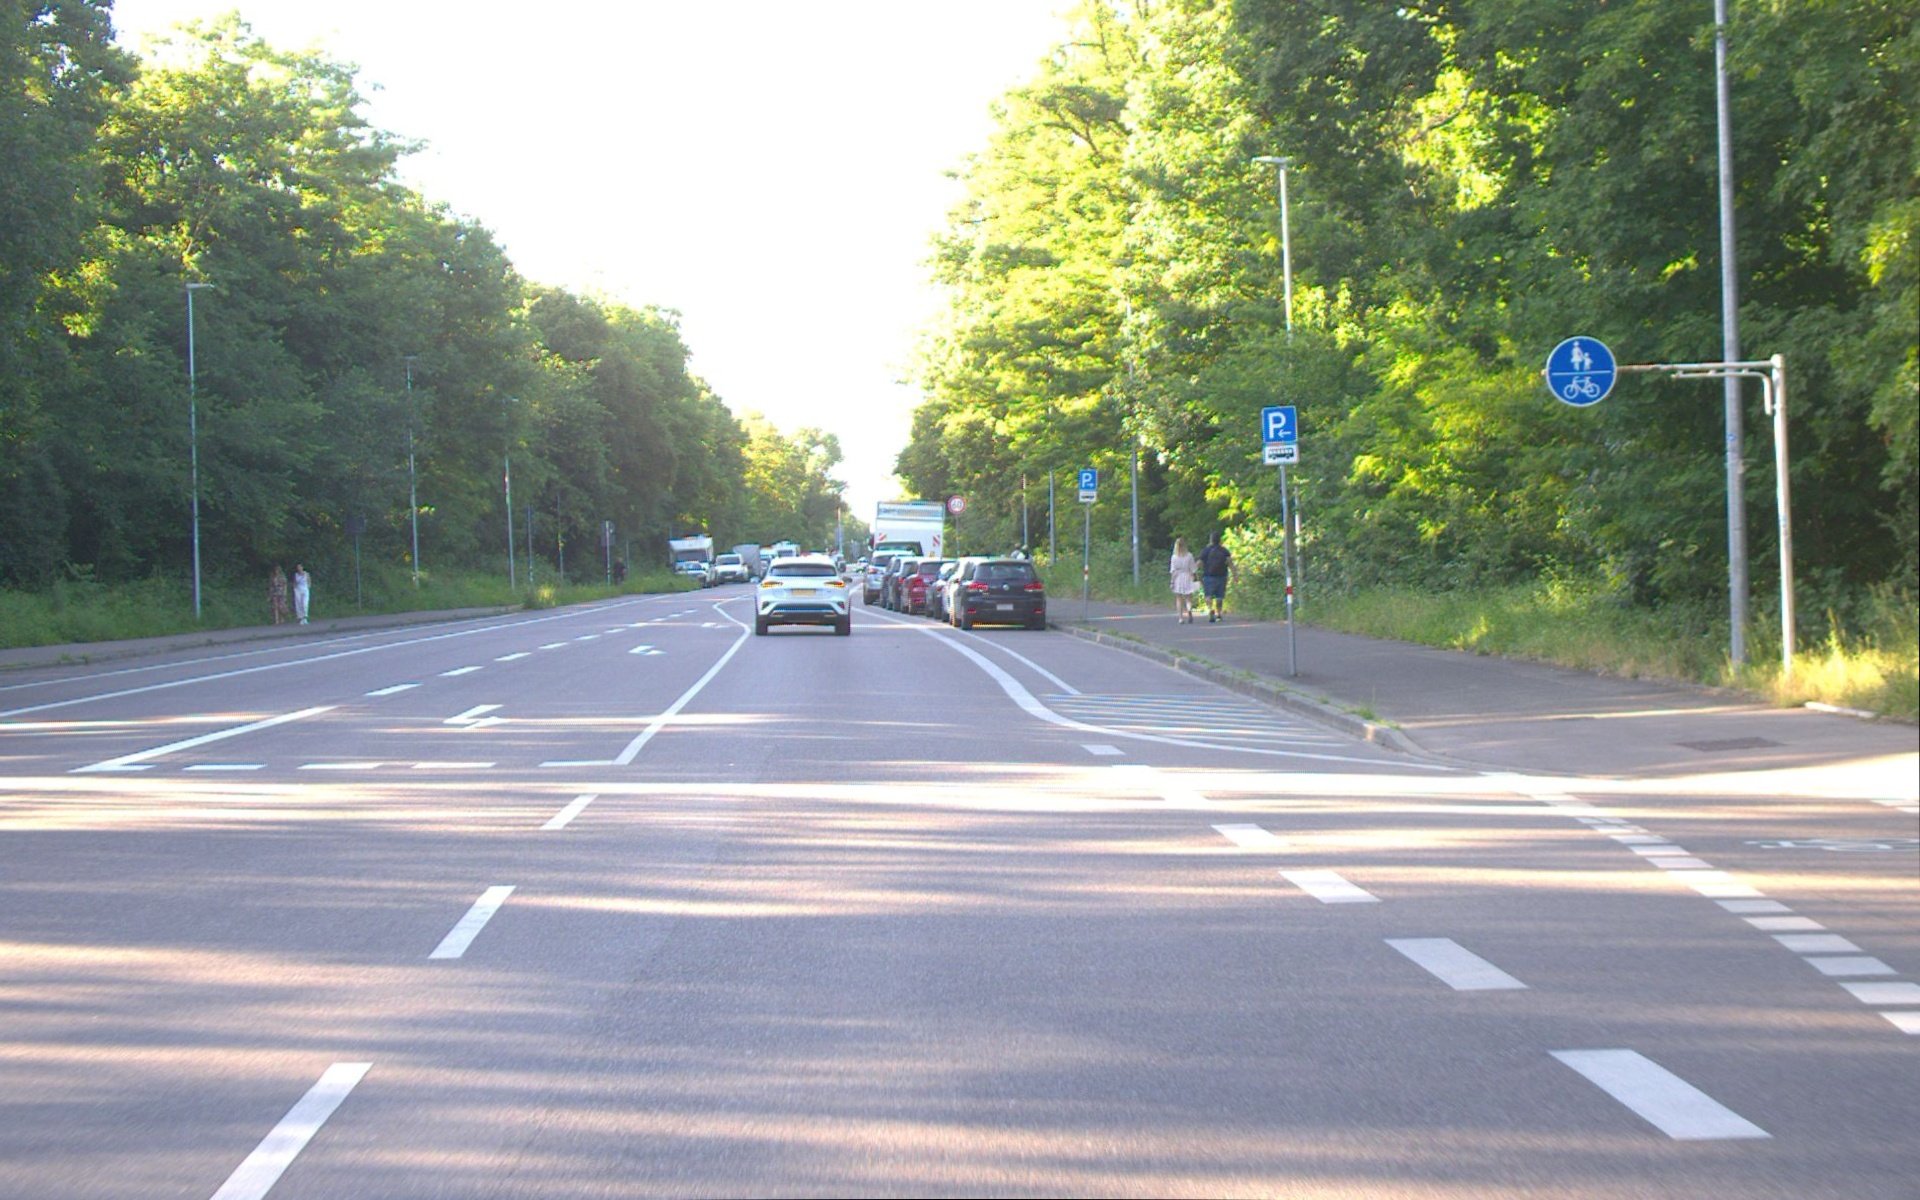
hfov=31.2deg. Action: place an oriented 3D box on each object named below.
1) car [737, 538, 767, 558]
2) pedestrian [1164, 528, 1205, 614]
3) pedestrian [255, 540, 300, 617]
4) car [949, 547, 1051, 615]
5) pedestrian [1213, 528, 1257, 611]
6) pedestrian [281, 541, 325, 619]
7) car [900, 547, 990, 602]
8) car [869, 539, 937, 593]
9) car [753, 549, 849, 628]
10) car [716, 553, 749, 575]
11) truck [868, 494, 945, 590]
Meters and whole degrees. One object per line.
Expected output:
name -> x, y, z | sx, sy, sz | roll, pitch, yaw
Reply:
car -> -14.610, -3.649, 241.405 | 1.993, 1.322, 4.001 | -1, 1, -2
pedestrian -> 4.387, -0.577, 67.210 | 0.698, 1.647, 0.876 | -1, 1, -1
pedestrian -> -17.927, -0.574, 90.290 | 0.863, 2.007, 1.269 | -1, 1, 1
car -> 0.815, -0.412, 72.102 | 1.993, 1.322, 4.000 | -1, 1, -1
pedestrian -> 5.381, -0.595, 67.235 | 0.743, 1.593, 0.798 | -1, 1, -1
pedestrian -> -17.238, -0.542, 90.262 | 0.831, 2.007, 1.269 | -1, 1, 1
car -> -0.411, -0.659, 87.799 | 1.993, 1.322, 4.001 | -2, 1, -4
car -> -1.728, -1.037, 103.815 | 1.993, 1.550, 4.000 | -1, 1, -1
car -> -3.107, -0.246, 66.729 | 1.761, 1.454, 3.818 | 1, 1, -4
car -> -14.445, -2.266, 218.427 | 1.993, 1.322, 4.001 | -1, 1, -2
truck -> -2.082, -2.232, 131.543 | 2.799, 3.558, 8.036 | 0, 1, -2
